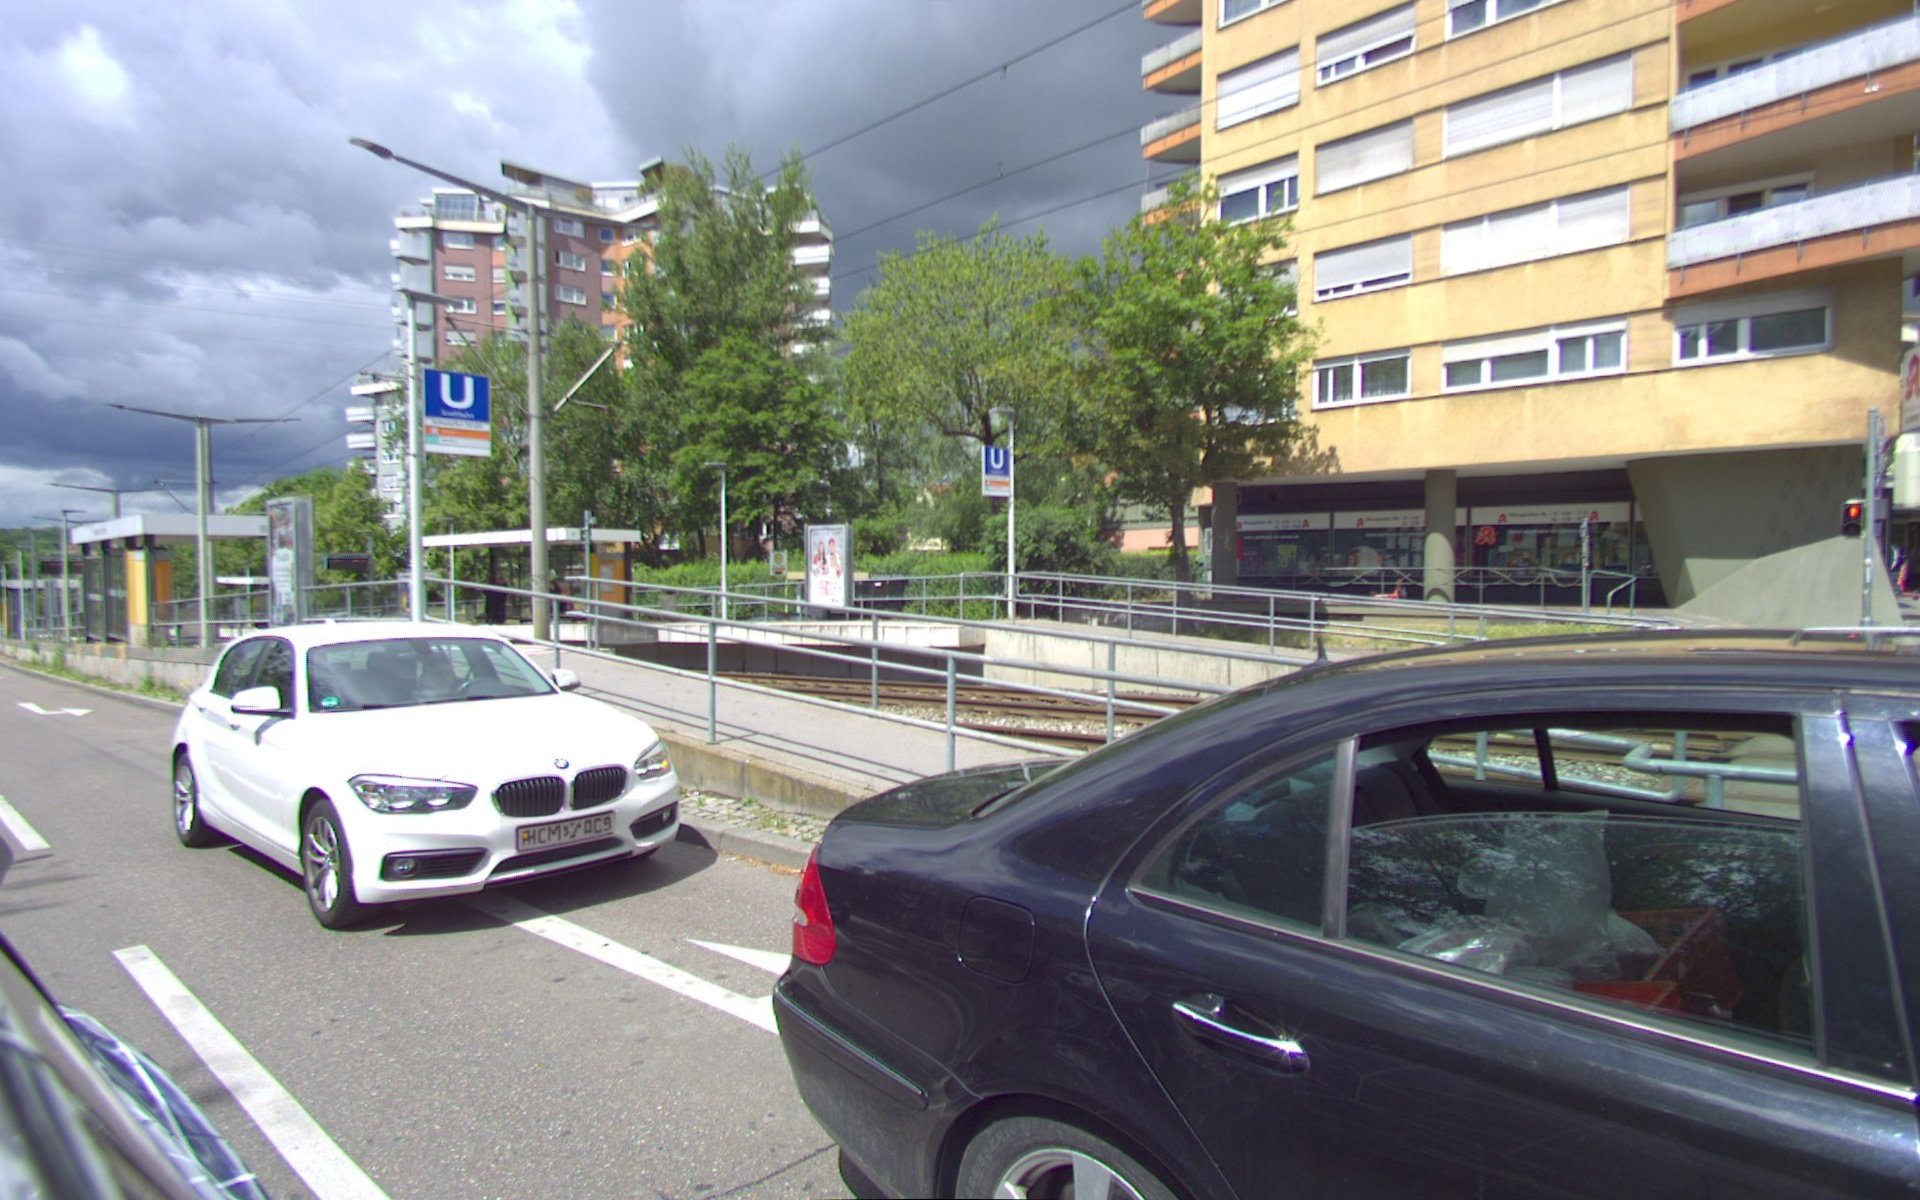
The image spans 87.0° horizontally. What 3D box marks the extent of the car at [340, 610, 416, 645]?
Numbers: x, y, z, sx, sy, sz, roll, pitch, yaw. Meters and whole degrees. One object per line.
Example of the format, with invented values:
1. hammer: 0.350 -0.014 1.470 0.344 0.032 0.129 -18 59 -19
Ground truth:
1. car: -28.623 1.340 49.716 4.459 1.647 1.972 -1 -2 42

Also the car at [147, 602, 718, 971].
1. car: -3.355 0.779 6.071 3.998 1.472 1.710 -1 0 41

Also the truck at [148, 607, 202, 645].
1. truck: -69.136 2.303 89.078 7.260 3.247 2.389 -2 -1 42

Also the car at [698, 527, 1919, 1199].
1. car: 1.685 0.654 1.402 4.542 1.472 1.710 -1 0 41

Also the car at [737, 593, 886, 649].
1. car: -4.198 0.542 28.192 4.493 1.410 1.617 0 1 42
